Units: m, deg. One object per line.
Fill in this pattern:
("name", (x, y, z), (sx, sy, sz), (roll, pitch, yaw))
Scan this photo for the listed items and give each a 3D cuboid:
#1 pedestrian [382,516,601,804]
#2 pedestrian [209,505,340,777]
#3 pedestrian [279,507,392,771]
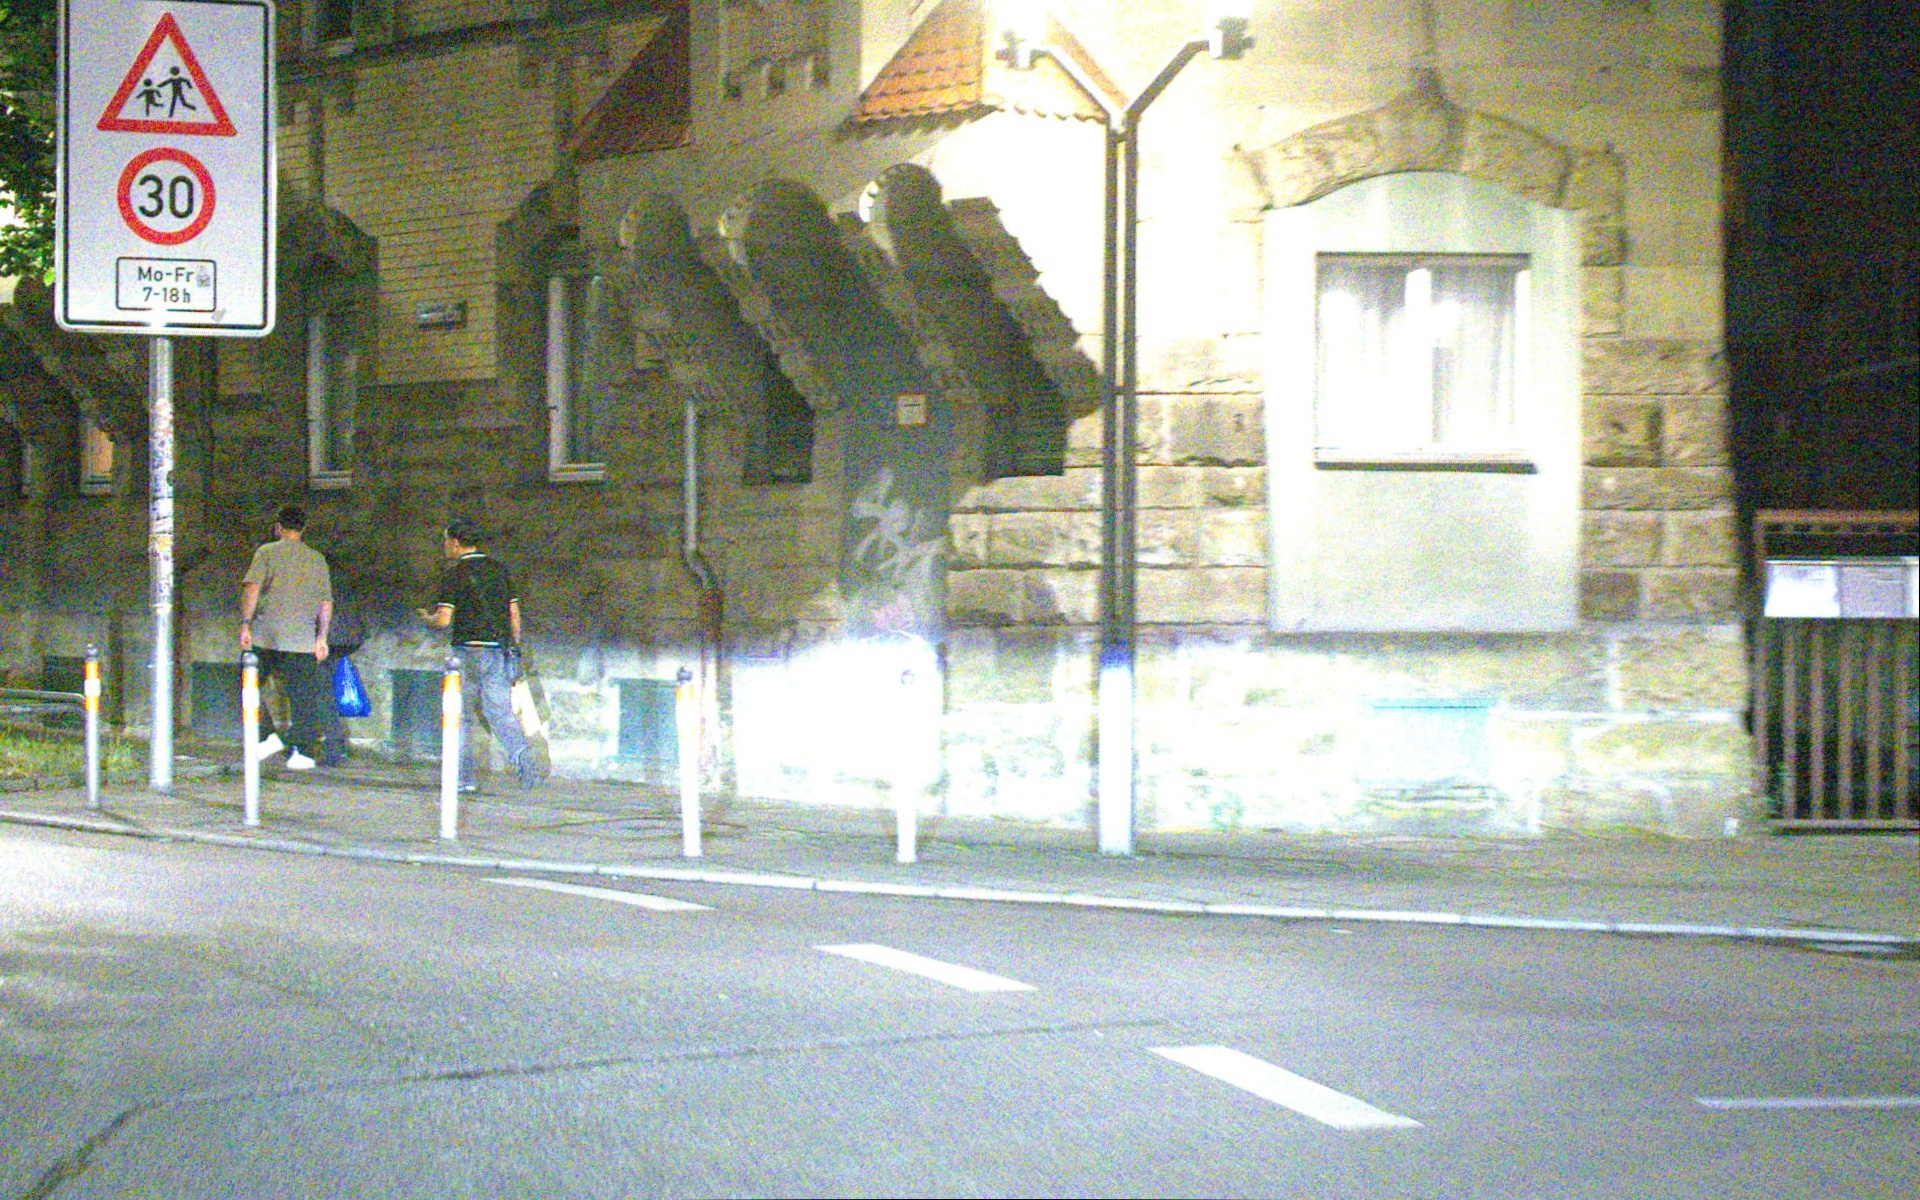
("pedestrian", (-2.733, 0.335, 20.042), (0.965, 1.625, 0.807), (1, 0, 42))
("pedestrian", (-4.385, 0.250, 21.986), (0.507, 1.703, 0.704), (0, 1, -45))
("pedestrian", (-4.104, 0.245, 22.597), (0.477, 1.703, 0.570), (0, 1, -45))
